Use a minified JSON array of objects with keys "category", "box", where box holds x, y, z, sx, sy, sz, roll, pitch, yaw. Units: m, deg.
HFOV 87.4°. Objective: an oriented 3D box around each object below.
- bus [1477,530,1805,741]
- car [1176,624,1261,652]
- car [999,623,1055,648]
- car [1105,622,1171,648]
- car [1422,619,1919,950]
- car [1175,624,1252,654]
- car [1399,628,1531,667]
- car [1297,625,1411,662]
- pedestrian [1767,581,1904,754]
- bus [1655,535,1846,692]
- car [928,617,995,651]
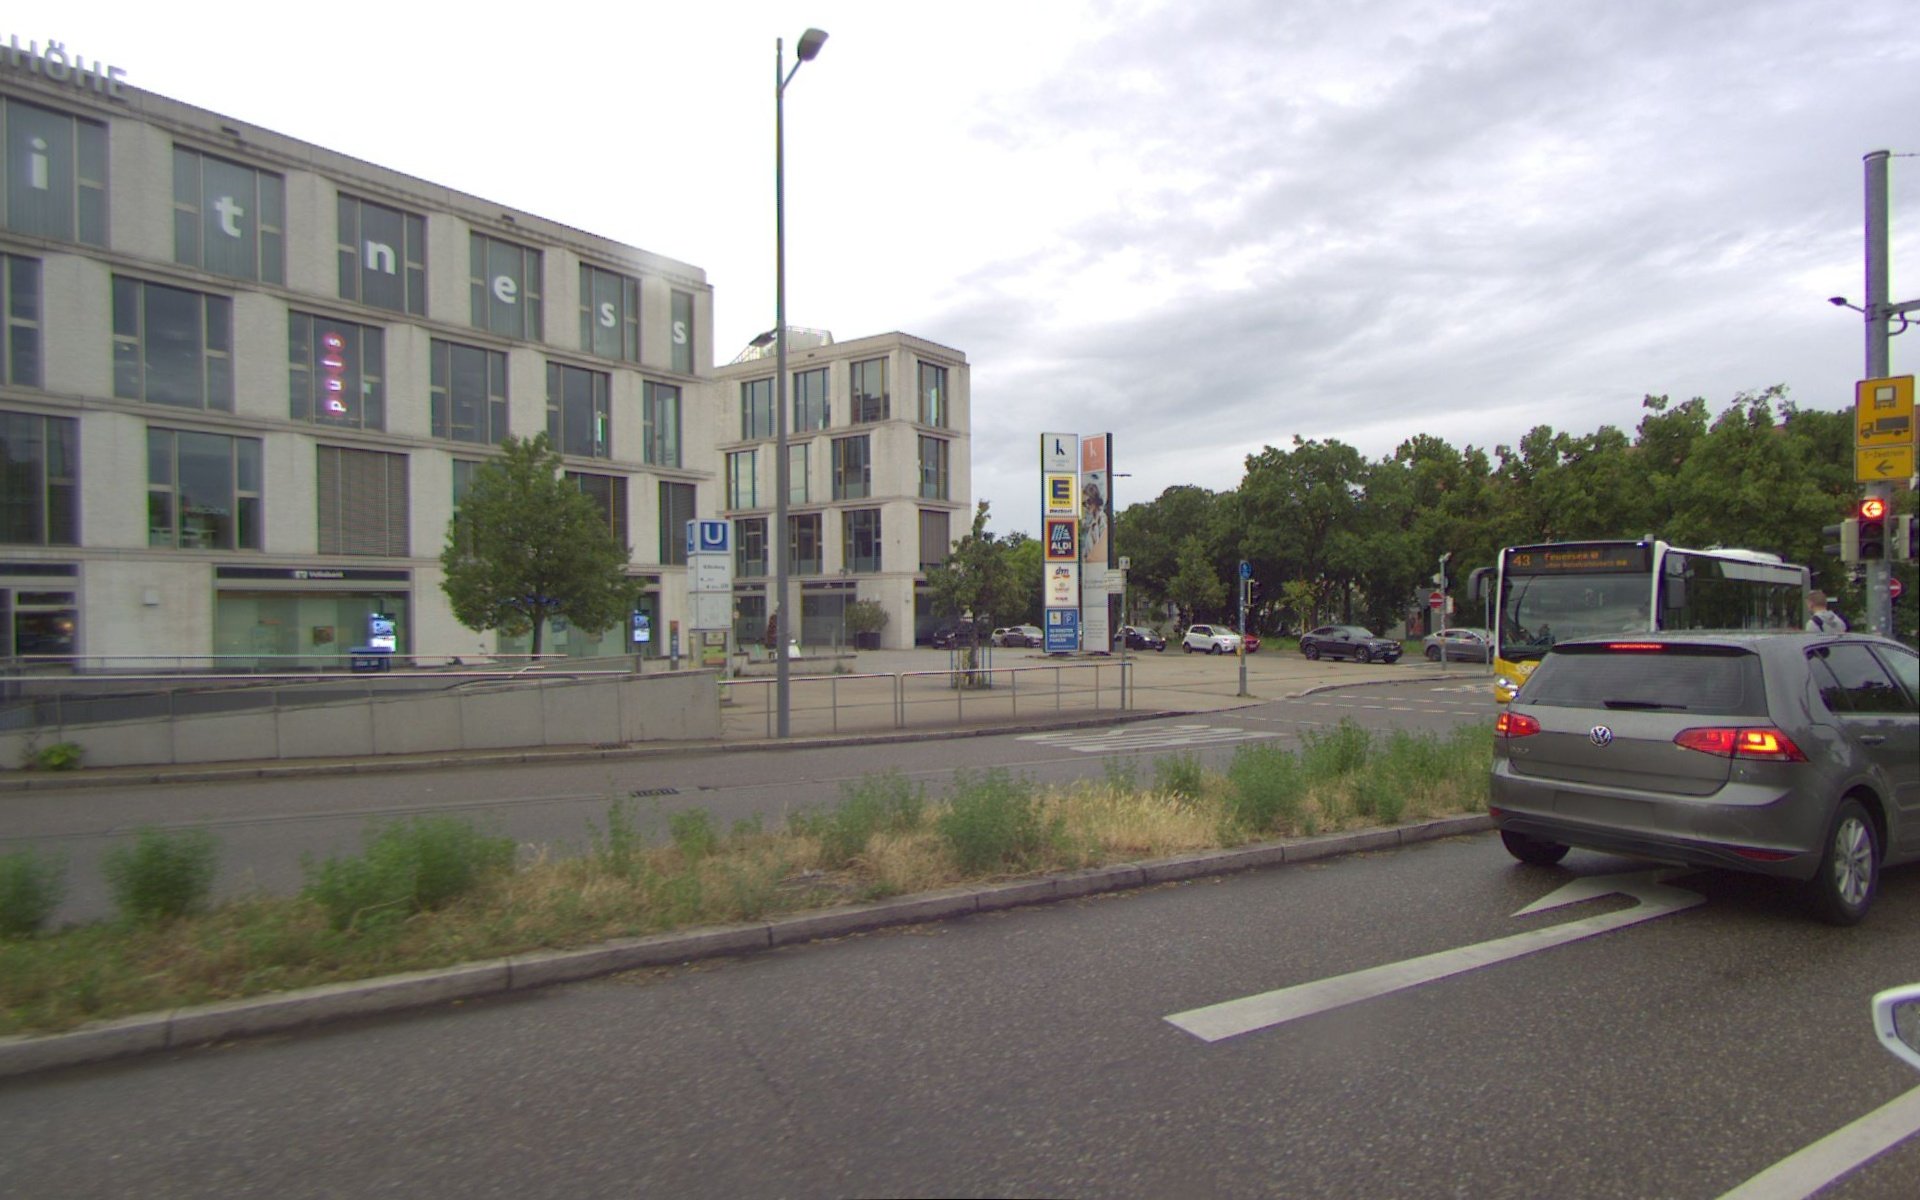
[{"category":"bus","box":[13.403,0.639,19.269,9.681,3.144,2.863,1,-1,-41]},{"category":"car","box":[14.351,2.084,55.968,1.977,1.444,4.503,1,0,-31]},{"category":"car","box":[4.202,2.226,63.325,1.649,1.444,3.948,1,0,-30]},{"category":"car","box":[10.394,2.026,58.874,1.823,1.444,3.755,1,0,-30]},{"category":"car","box":[4.998,0.884,6.245,4.147,1.448,1.798,1,-3,-30]},{"category":"car","box":[13.245,1.999,52.679,1.823,1.444,3.755,1,0,-30]},{"category":"car","box":[21.403,1.994,42.806,1.823,1.444,4.840,1,0,-30]},{"category":"car","box":[17.286,1.897,44.282,1.976,1.444,4.425,1,0,-30]},{"category":"pedestrian","box":[10.804,0.824,12.420,0.835,2.040,0.938,1,-3,-23]},{"category":"bus","box":[20.283,0.389,25.528,2.859,3.351,8.521,-1,-1,45]},{"category":"car","box":[0.107,1.832,54.736,1.749,1.754,3.989,0,-1,33]}]
